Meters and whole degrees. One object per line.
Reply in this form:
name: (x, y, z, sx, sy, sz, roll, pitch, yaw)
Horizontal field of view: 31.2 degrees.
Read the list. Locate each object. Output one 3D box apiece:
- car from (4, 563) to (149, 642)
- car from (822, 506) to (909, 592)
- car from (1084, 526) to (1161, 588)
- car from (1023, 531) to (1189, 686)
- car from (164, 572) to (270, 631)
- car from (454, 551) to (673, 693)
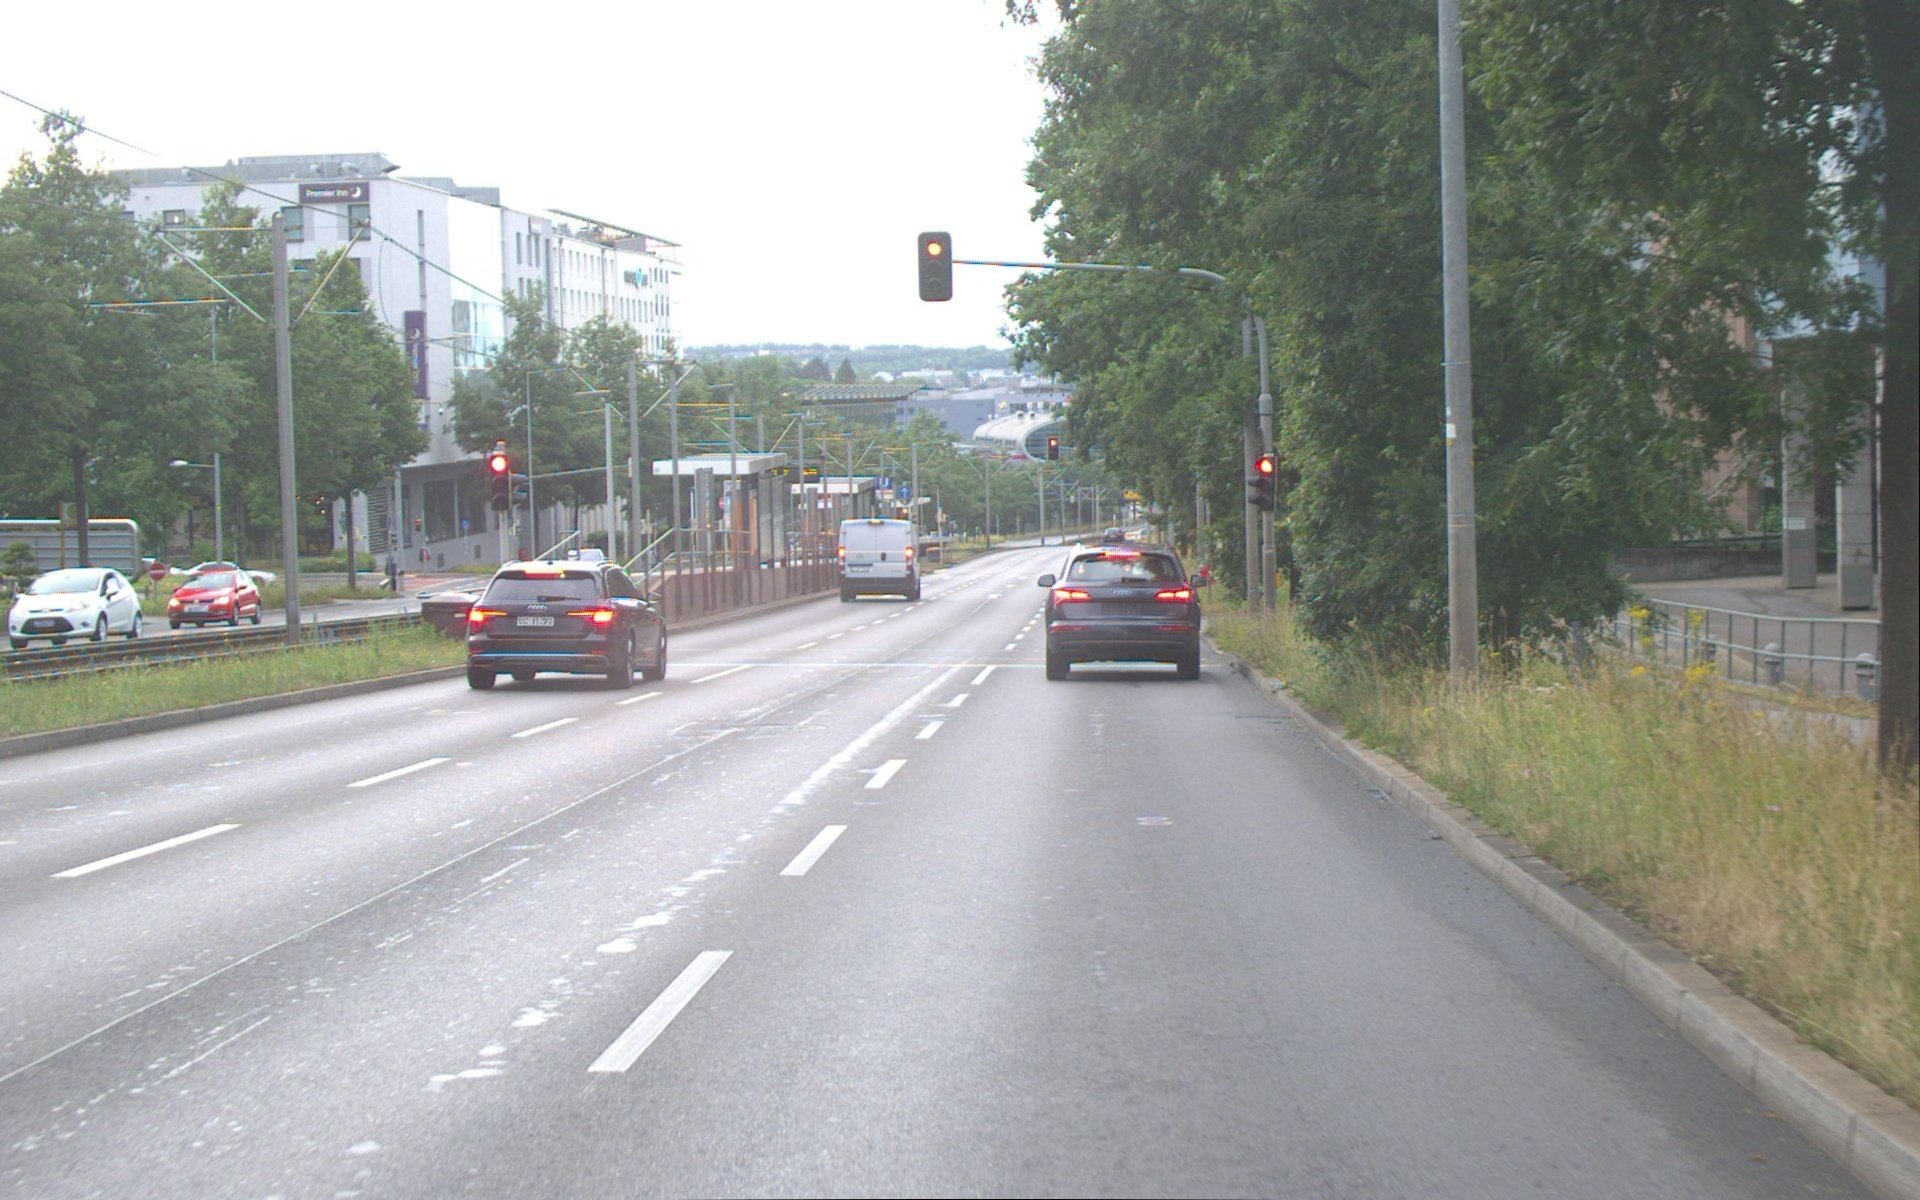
car: (-16.571, 0.029, 64.647, 1.663, 1.437, 3.896, 0, 1, 1)
car: (-2.641, -1.441, 95.186, 2.267, 2.277, 4.760, 0, 2, -3)
car: (4.915, -1.303, 103.483, 2.049, 1.736, 4.573, 0, 2, 6)
car: (1.742, 0.059, 42.186, 1.922, 1.704, 4.098, 0, 2, 1)
car: (-18.749, 0.026, 86.871, 1.663, 1.437, 3.896, 0, 1, 3)
car: (-4.451, 0.200, 39.273, 1.786, 1.409, 4.806, 0, 2, 2)
